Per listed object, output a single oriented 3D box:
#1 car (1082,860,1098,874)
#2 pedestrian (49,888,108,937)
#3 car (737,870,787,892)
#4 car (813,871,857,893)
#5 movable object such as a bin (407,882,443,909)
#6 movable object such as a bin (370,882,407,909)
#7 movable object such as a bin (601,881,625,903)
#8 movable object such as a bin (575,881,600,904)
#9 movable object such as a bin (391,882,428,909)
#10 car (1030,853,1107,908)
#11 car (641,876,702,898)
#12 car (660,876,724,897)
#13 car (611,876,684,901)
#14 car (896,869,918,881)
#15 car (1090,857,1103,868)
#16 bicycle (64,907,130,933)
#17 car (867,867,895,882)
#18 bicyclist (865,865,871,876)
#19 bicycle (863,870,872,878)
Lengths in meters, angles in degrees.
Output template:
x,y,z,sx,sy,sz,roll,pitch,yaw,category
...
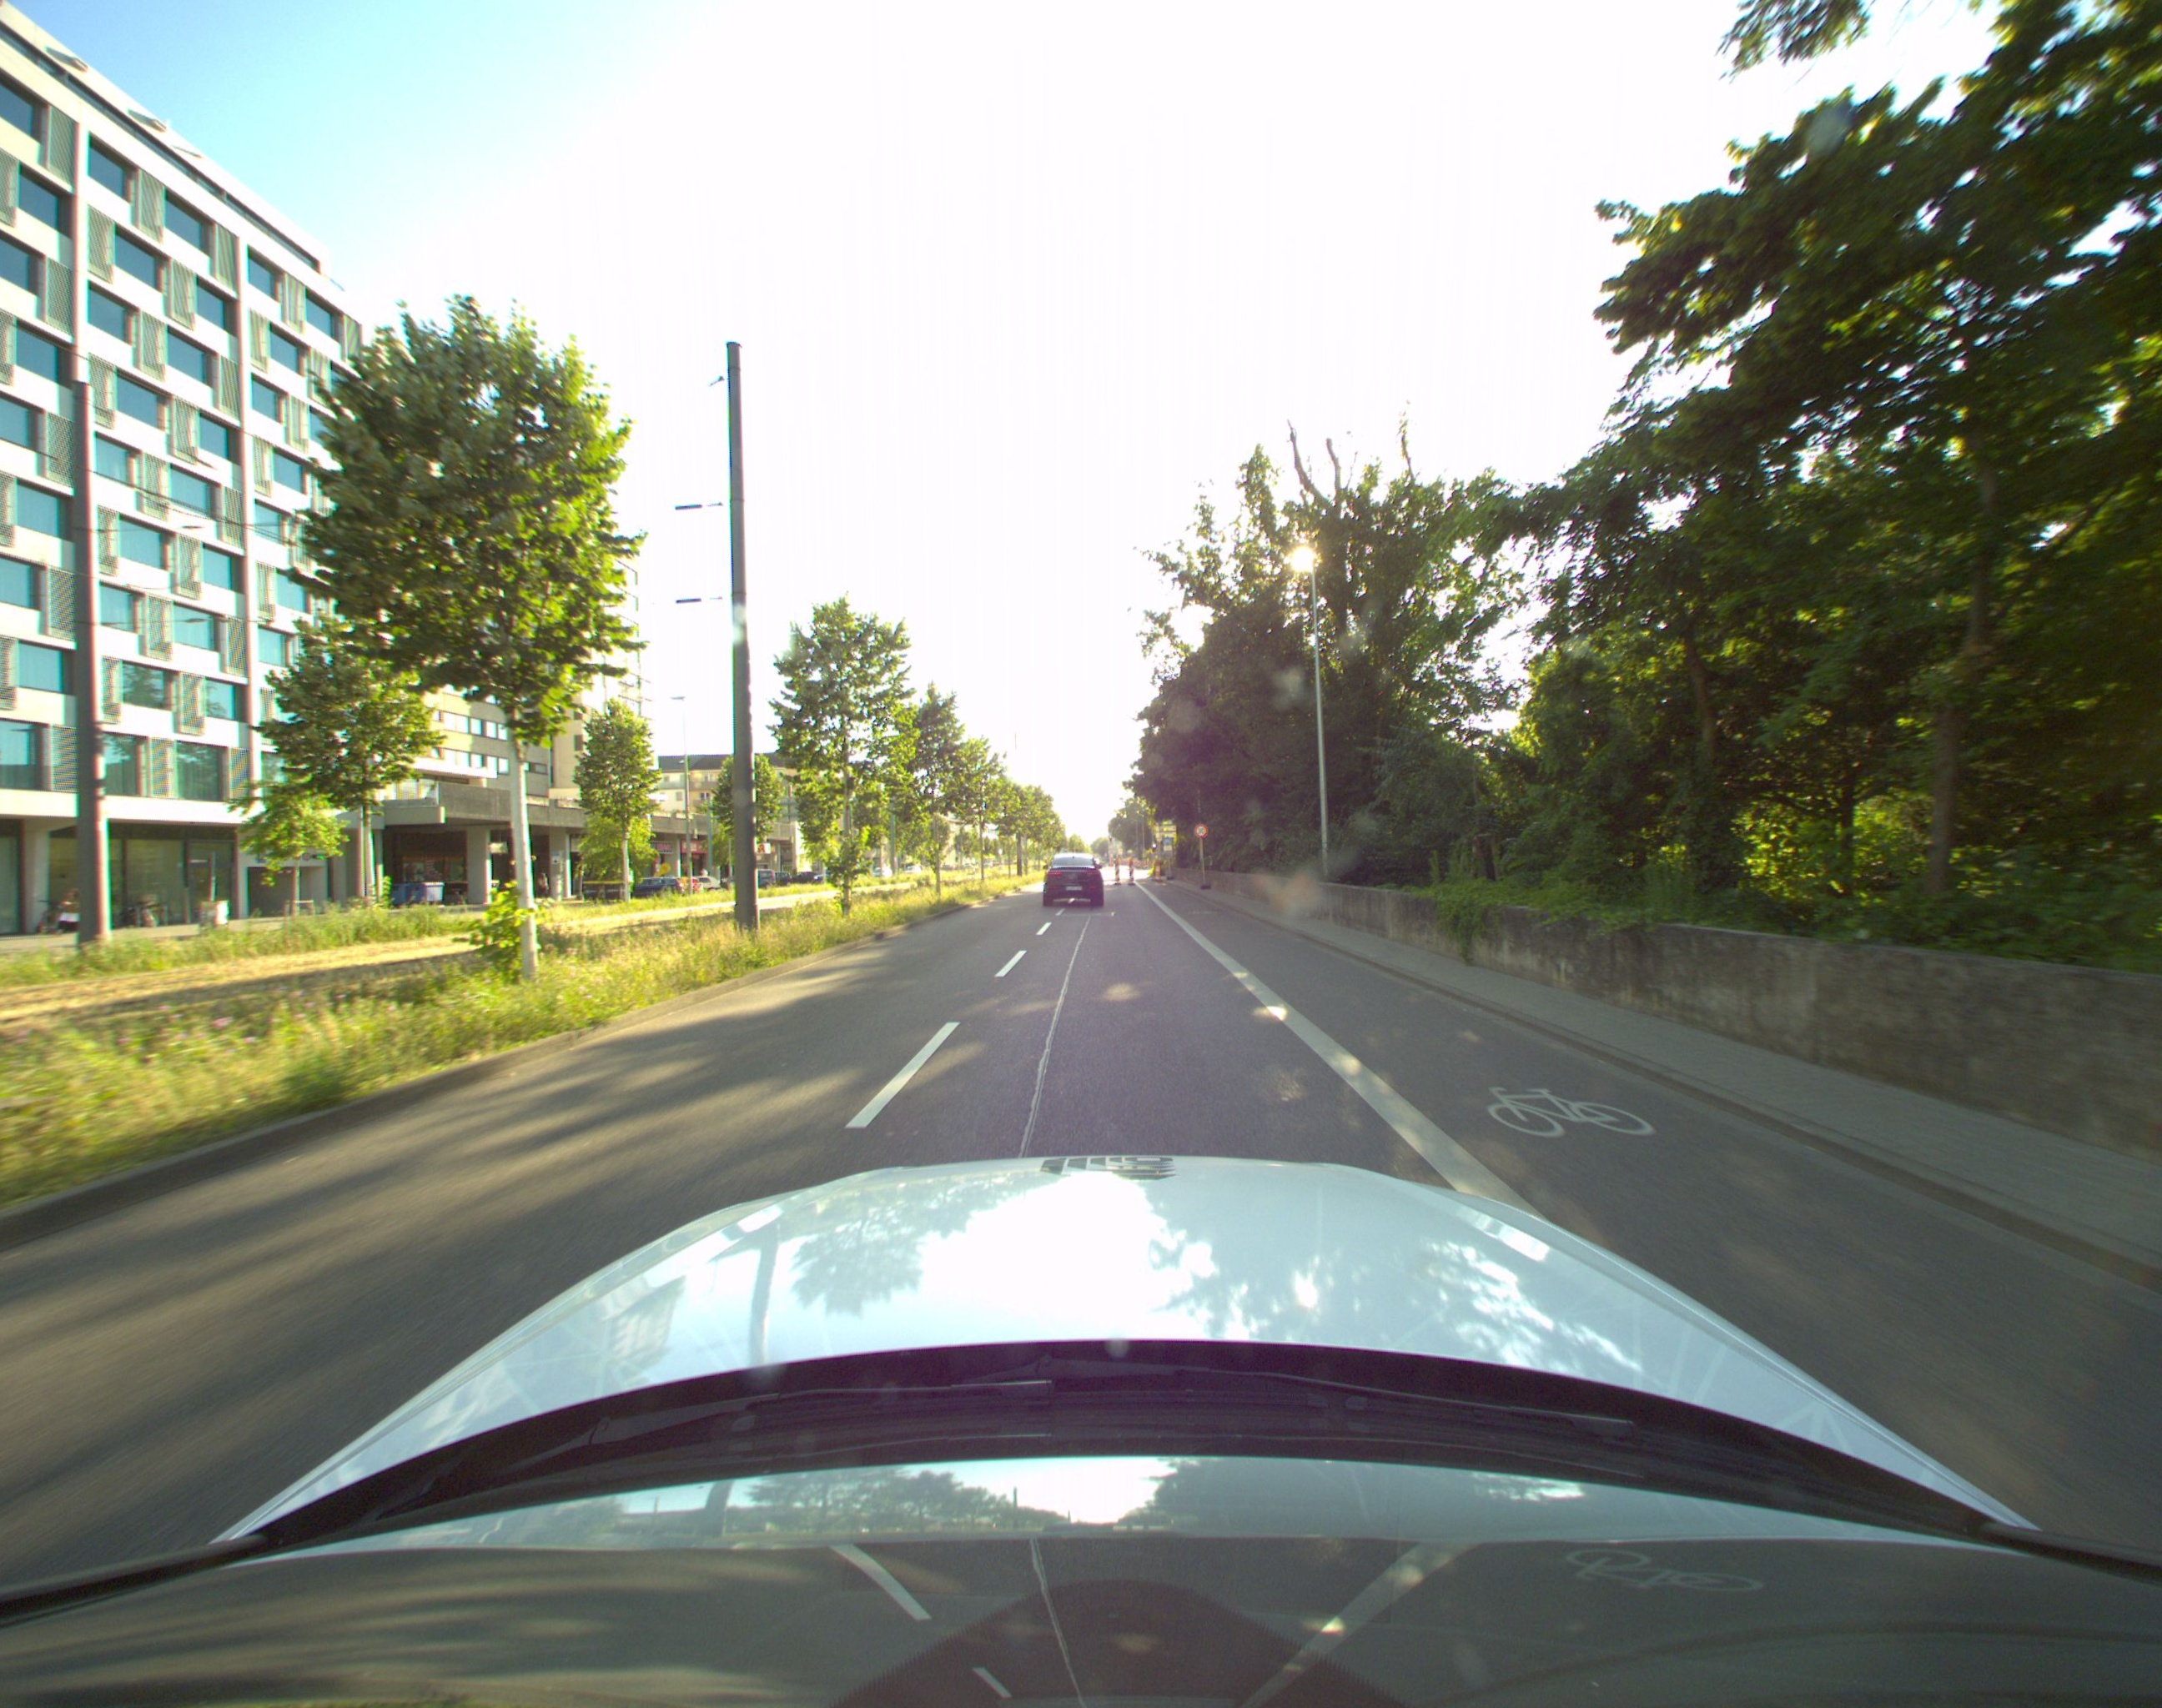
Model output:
x,y,z,sx,sy,sz,roll,pitch,yaw,category
1.089,1.505,96.466,1.879,1.580,4.001,-1,0,1,car
-35.467,2.056,28.823,0.840,1.653,0.971,-2,-1,3,pedestrian
-28.468,2.399,72.647,3.777,1.829,1.804,0,-1,-38,car
-20.594,2.305,68.344,1.877,1.689,5.094,-1,0,3,car
-36.685,2.303,45.533,0.797,1.440,1.403,-2,-1,2,movable object such as a bin
-38.703,2.325,45.549,0.797,1.440,1.403,-2,-1,2,movable object such as a bin
-28.866,2.338,50.236,0.851,1.280,0.944,-2,-1,16,movable object such as a bin
-30.259,2.352,49.943,0.851,1.358,0.944,-2,-1,16,movable object such as a bin
-37.554,2.313,45.552,0.797,1.440,1.403,-2,-1,2,movable object such as a bin
-0.503,0.853,27.937,1.994,1.734,3.986,-1,0,-10,car
-29.531,2.343,58.791,3.643,1.523,1.602,1,-1,-39,car
-29.577,2.432,61.920,1.764,1.453,4.024,-1,-1,43,car
-29.569,2.300,55.559,4.116,1.601,1.730,1,-1,-39,car
-23.241,2.739,108.748,1.877,1.514,4.004,-1,0,3,car
2.315,1.253,121.647,1.761,1.604,3.773,-2,0,1,car
-37.189,2.492,30.787,1.799,0.905,0.511,-2,-1,-2,bicycle
-22.321,2.297,91.134,1.877,1.514,4.004,-1,0,3,car
-25.533,1.975,97.618,0.590,1.355,0.759,-1,-1,-1,bicyclist
-25.537,2.414,97.498,0.605,0.963,1.717,-1,0,-1,bicycle
